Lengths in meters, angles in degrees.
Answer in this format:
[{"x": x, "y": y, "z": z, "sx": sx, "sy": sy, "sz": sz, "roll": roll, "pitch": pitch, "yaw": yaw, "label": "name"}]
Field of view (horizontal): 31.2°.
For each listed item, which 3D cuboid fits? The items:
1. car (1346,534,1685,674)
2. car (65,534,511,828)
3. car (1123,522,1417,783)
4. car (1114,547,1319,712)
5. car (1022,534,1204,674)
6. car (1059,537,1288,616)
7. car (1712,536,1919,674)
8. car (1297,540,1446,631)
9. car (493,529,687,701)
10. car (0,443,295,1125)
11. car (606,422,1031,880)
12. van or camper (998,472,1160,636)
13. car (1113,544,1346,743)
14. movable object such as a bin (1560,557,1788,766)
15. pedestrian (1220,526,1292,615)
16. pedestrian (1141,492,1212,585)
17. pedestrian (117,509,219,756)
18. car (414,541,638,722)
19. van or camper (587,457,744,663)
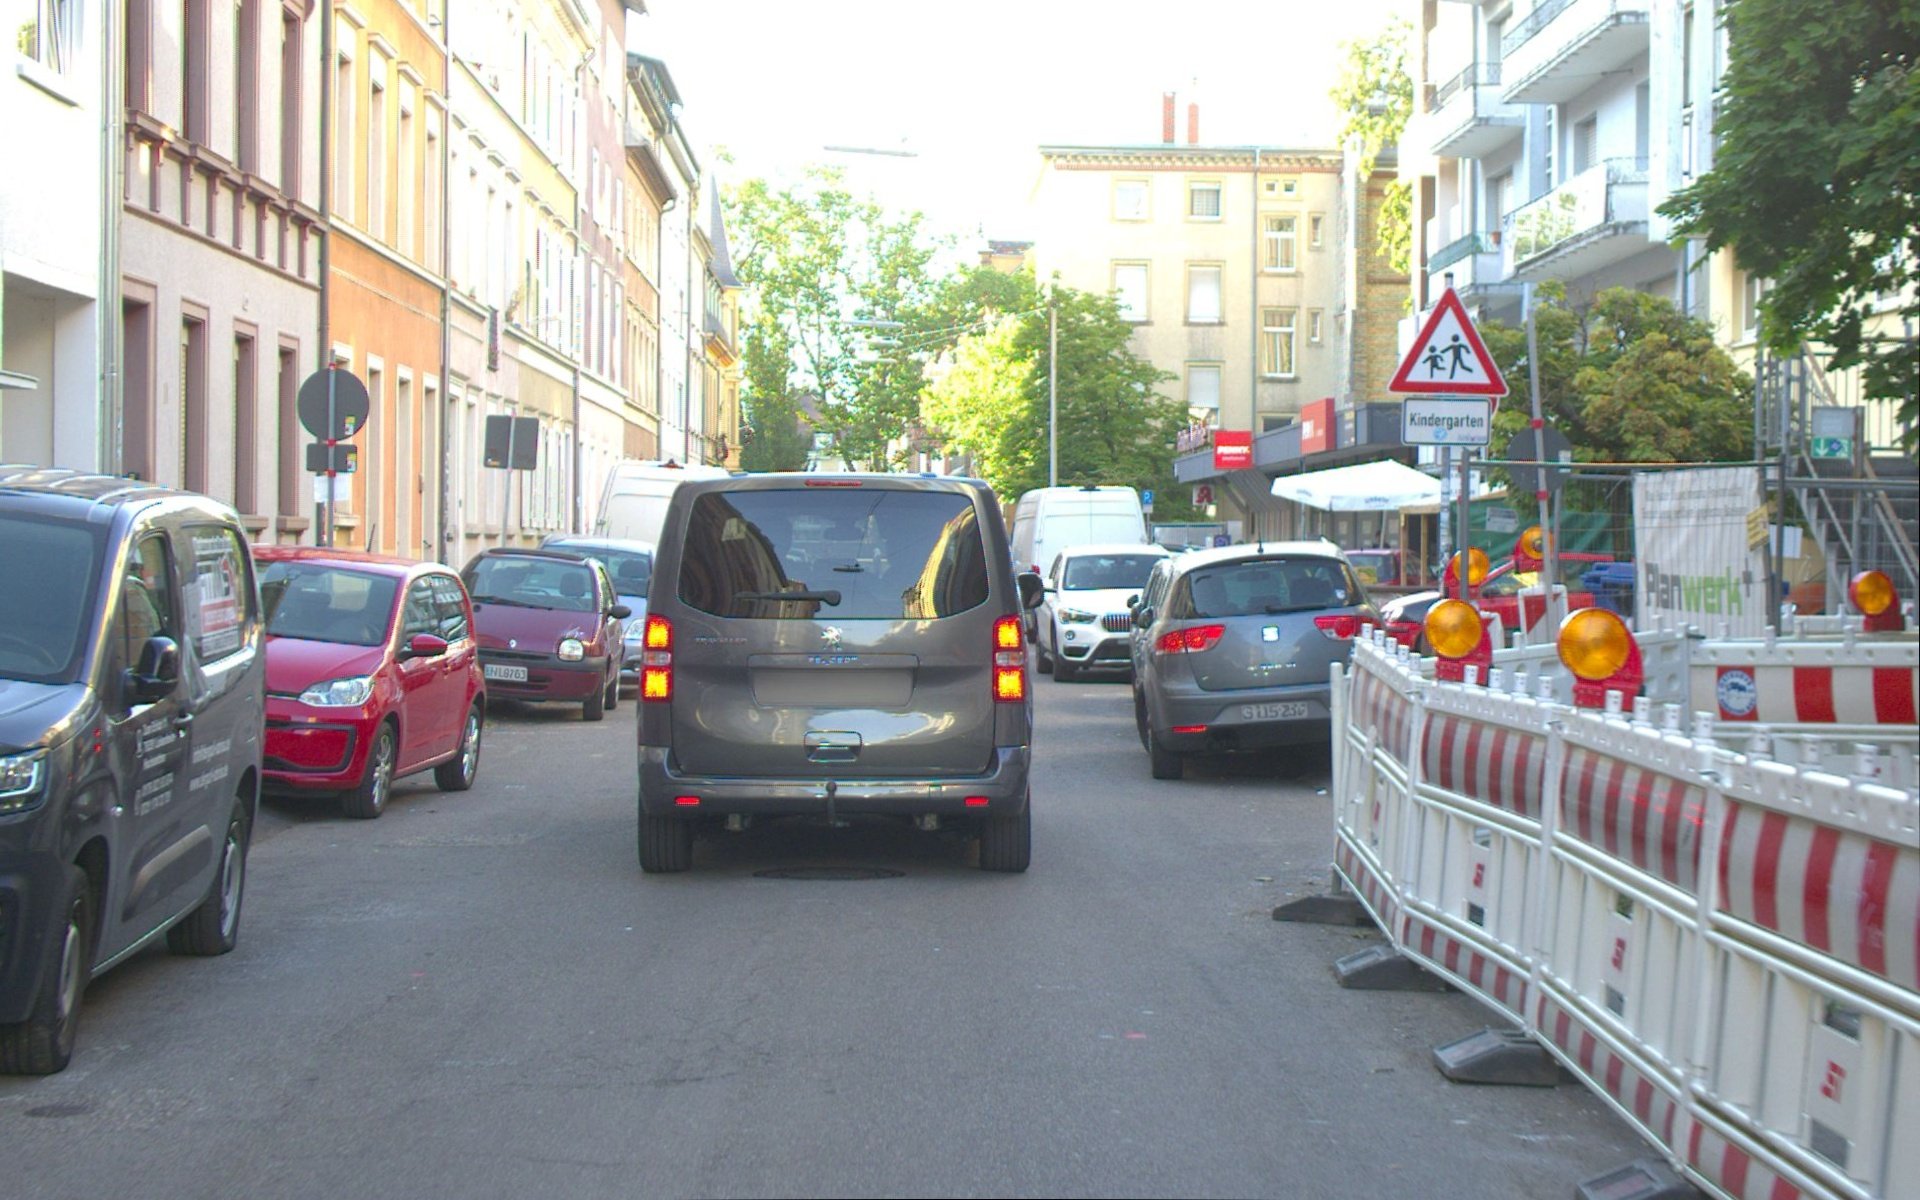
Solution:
[{"x": 6.937, "y": 0.037, "z": 43.141, "sx": 3.895, "sy": 1.602, "sz": 1.694, "roll": 2, "pitch": 1, "yaw": -2, "label": "car"}, {"x": -3.979, "y": 0.421, "z": 20.922, "sx": 1.669, "sy": 1.480, "sz": 3.605, "roll": 6, "pitch": 1, "yaw": 4, "label": "car"}, {"x": 2.158, "y": 0.302, "z": 25.026, "sx": 1.749, "sy": 1.677, "sz": 4.525, "roll": 1, "pitch": 1, "yaw": 1, "label": "car"}, {"x": 2.484, "y": 0.240, "z": 34.107, "sx": 1.620, "sy": 1.481, "sz": 4.125, "roll": -2, "pitch": 1, "yaw": -1, "label": "car"}, {"x": 1.827, "y": 0.015, "z": 42.266, "sx": 1.722, "sy": 1.606, "sz": 4.589, "roll": 1, "pitch": 1, "yaw": -4, "label": "car"}, {"x": 4.476, "y": -0.505, "z": 72.510, "sx": 4.625, "sy": 1.461, "sz": 1.841, "roll": -2, "pitch": 1, "yaw": -1, "label": "car"}, {"x": 11.566, "y": 0.047, "z": 42.305, "sx": 4.106, "sy": 1.653, "sz": 2.000, "roll": 0, "pitch": 1, "yaw": -5, "label": "car"}, {"x": 6.669, "y": -0.258, "z": 55.472, "sx": 1.602, "sy": 1.411, "sz": 3.225, "roll": 0, "pitch": 1, "yaw": 22, "label": "car"}, {"x": -3.879, "y": 0.107, "z": 36.572, "sx": 1.711, "sy": 1.638, "sz": 3.980, "roll": 3, "pitch": 1, "yaw": -3, "label": "car"}, {"x": -3.600, "y": 0.437, "z": 11.584, "sx": 1.993, "sy": 1.852, "sz": 4.585, "roll": 1, "pitch": 1, "yaw": -3, "label": "car"}, {"x": -0.698, "y": 0.183, "z": 17.381, "sx": 1.857, "sy": 2.007, "sz": 4.001, "roll": -1, "pitch": 1, "yaw": -2, "label": "car"}, {"x": 1.931, "y": -0.799, "z": 58.292, "sx": 2.099, "sy": 2.593, "sz": 7.513, "roll": 0, "pitch": 1, "yaw": -3, "label": "van or camper"}, {"x": 2.244, "y": 0.320, "z": 29.456, "sx": 1.621, "sy": 1.552, "sz": 3.694, "roll": 1, "pitch": 1, "yaw": -1, "label": "car"}, {"x": 4.867, "y": 0.418, "z": 23.450, "sx": 1.250, "sy": 1.371, "sz": 0.802, "roll": 2, "pitch": 1, "yaw": -26, "label": "movable object such as a bin"}, {"x": 5.801, "y": -0.584, "z": 67.354, "sx": 0.932, "sy": 1.714, "sz": 1.063, "roll": -1, "pitch": 1, "yaw": -35, "label": "pedestrian"}, {"x": 3.687, "y": -1.052, "z": 58.666, "sx": 0.870, "sy": 1.550, "sz": 0.876, "roll": -2, "pitch": 2, "yaw": -23, "label": "pedestrian"}, {"x": -5.365, "y": 0.211, "z": 23.314, "sx": 0.495, "sy": 1.633, "sz": 0.665, "roll": 2, "pitch": 1, "yaw": -1, "label": "pedestrian"}, {"x": -3.900, "y": 0.247, "z": 31.300, "sx": 1.657, "sy": 1.443, "sz": 3.286, "roll": 4, "pitch": 1, "yaw": -2, "label": "car"}, {"x": -4.028, "y": -0.585, "z": 47.996, "sx": 1.949, "sy": 2.640, "sz": 7.142, "roll": -1, "pitch": 1, "yaw": -3, "label": "van or camper"}]
